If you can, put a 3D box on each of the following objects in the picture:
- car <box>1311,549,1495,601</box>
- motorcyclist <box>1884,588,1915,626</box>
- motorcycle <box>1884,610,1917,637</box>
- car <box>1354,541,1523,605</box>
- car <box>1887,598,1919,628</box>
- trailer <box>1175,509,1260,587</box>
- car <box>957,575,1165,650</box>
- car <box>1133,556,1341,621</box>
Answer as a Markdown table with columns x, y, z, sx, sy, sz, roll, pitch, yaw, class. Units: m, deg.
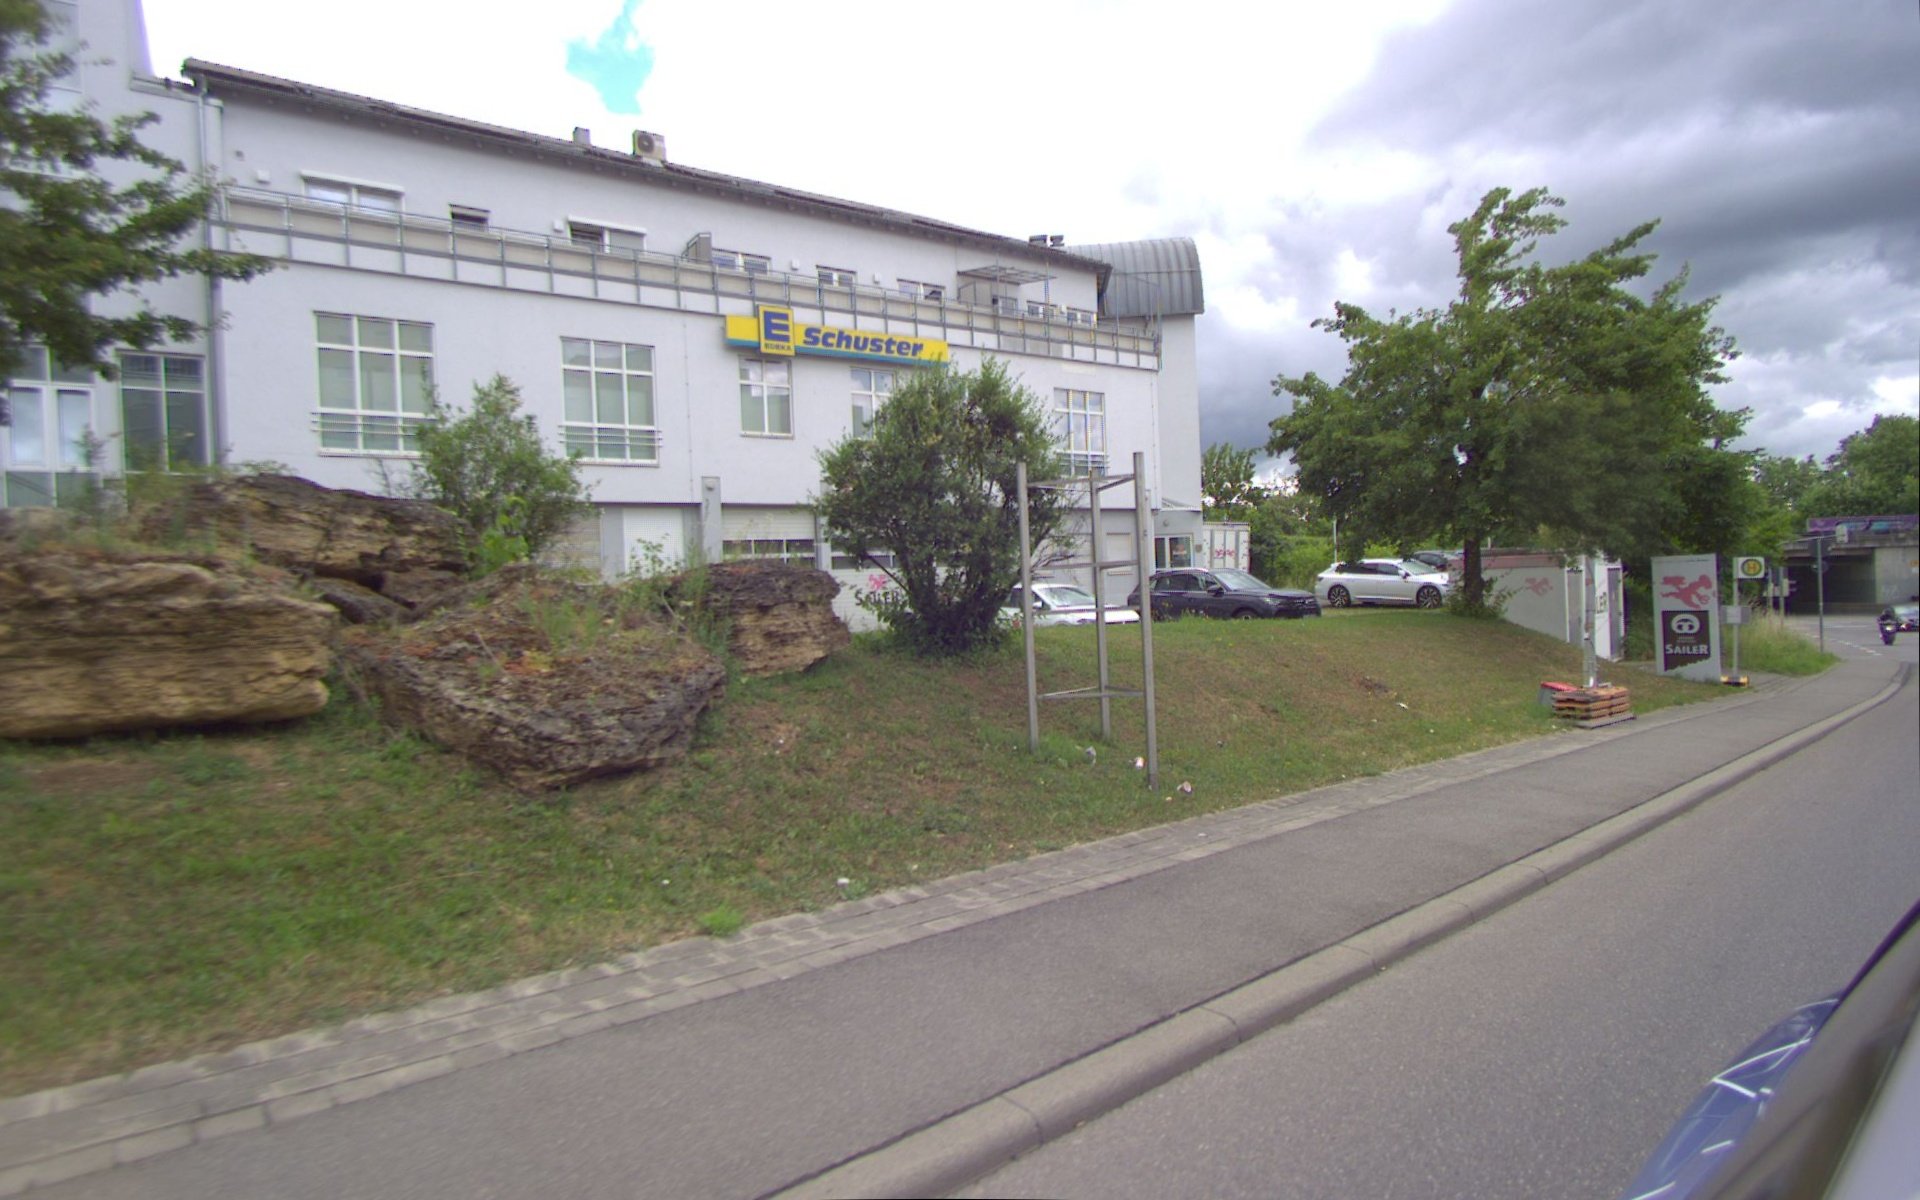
| x | y | z | sx | sy | sz | roll | pitch | yaw | class |
| --- | --- | --- | --- | --- | --- | --- | --- | --- | --- |
| 12.856 | -0.701 | 29.653 | 1.685 | 1.398 | 4.707 | -3 | 1 | -38 | car |
| 42.001 | 0.295 | 45.253 | 0.879 | 1.626 | 1.226 | -4 | -2 | 40 | motorcyclist |
| 42.164 | 1.049 | 45.386 | 0.879 | 1.118 | 2.327 | -4 | -2 | 40 | motorcycle |
| 15.028 | -0.817 | 32.037 | 1.795 | 1.659 | 4.513 | -2 | -1 | -31 | car |
| 55.126 | 0.729 | 58.054 | 1.743 | 1.553 | 4.213 | -4 | -1 | 28 | car |
| 12.046 | -2.339 | 47.883 | 2.426 | 3.094 | 6.487 | -3 | -1 | 3 | trailer |
| 1.870 | 0.211 | 19.709 | 1.836 | 1.248 | 3.882 | -3 | 1 | -38 | car |
| 5.920 | -0.241 | 22.001 | 1.878 | 1.248 | 4.048 | -3 | 1 | -38 | car |
